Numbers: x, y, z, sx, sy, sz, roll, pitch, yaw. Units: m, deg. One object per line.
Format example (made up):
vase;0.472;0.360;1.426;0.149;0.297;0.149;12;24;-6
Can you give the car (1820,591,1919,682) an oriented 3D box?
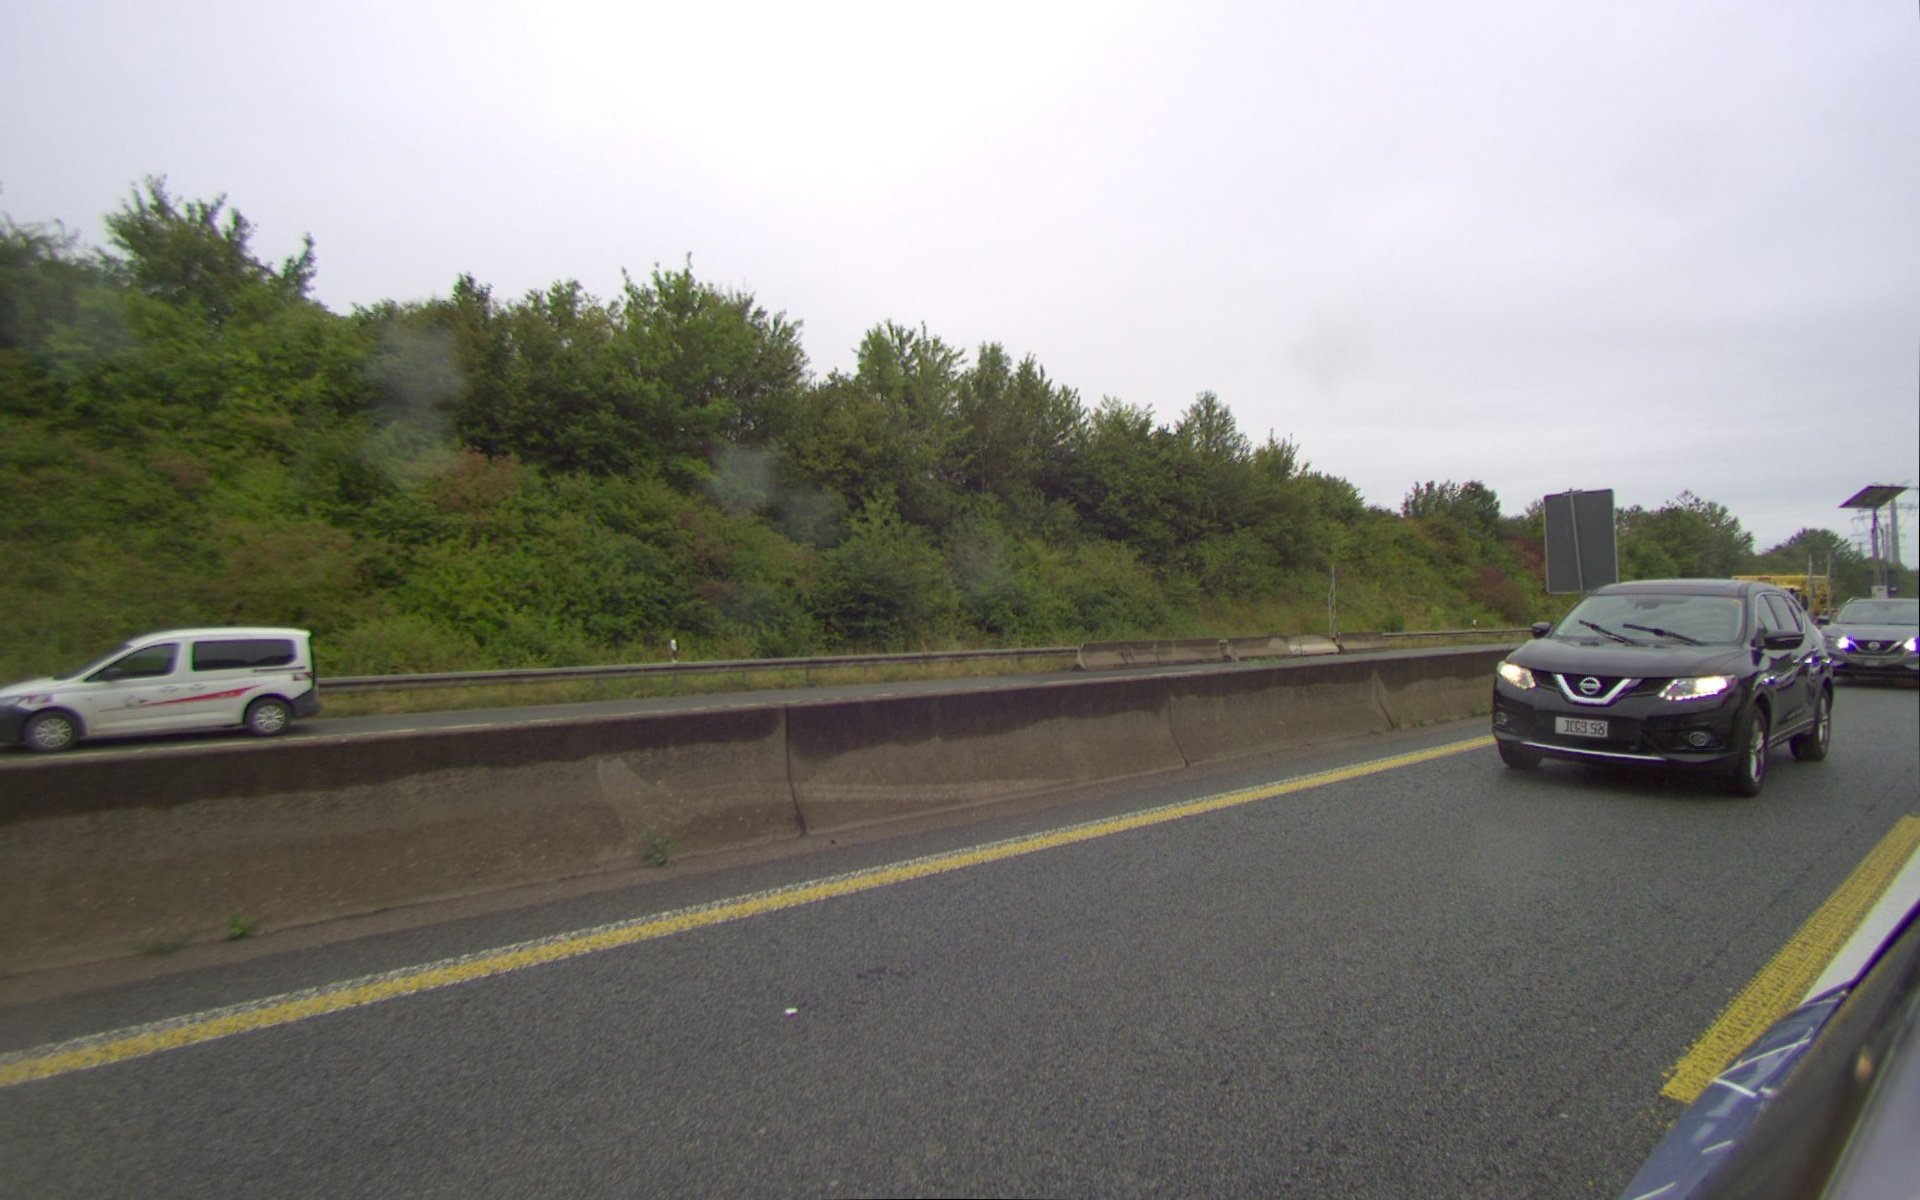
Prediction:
car;17.266;0.593;18.526;4.053;1.509;1.782;-1;1;-42

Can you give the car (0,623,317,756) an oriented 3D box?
car;-13.213;1.357;16.634;4.255;1.792;1.731;-1;1;-42

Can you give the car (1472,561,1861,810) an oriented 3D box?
car;6.540;0.553;9.145;4.561;1.696;1.892;-1;1;-42

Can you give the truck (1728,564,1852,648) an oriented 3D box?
truck;37.725;0.182;45.861;9.405;3.467;2.618;-1;1;-40
